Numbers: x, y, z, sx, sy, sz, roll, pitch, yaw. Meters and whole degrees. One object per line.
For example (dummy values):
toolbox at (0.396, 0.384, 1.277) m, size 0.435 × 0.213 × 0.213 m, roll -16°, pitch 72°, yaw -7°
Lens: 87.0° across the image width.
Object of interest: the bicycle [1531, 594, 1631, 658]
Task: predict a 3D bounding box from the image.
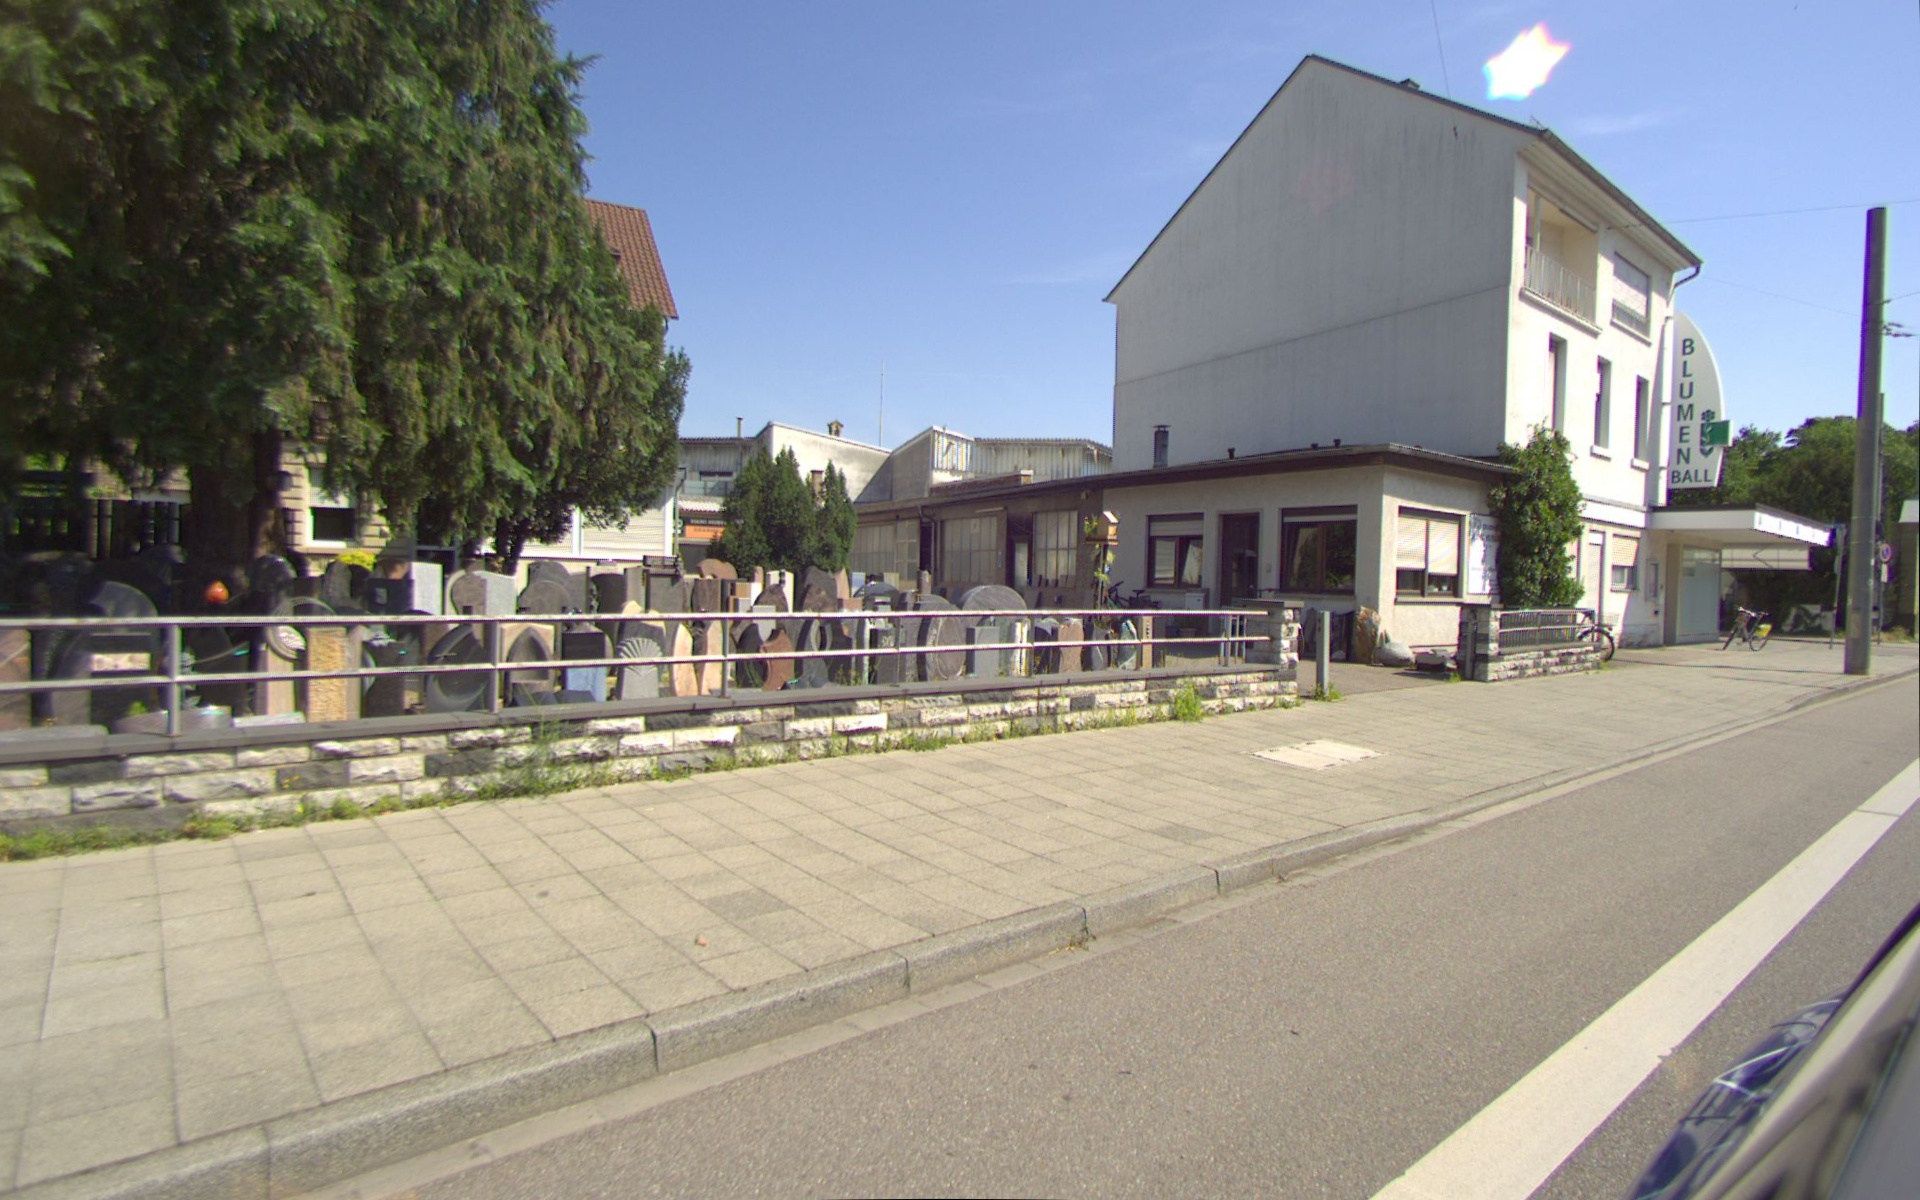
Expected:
bicycle at (11.937, 0.479, 19.504) m, size 0.390 × 1.069 × 1.531 m, roll 1°, pitch 4°, yaw -39°

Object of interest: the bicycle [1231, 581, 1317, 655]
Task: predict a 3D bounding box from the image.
bicycle at (5.249, 0.275, 17.024) m, size 0.503 × 1.124 × 1.695 m, roll 2°, pitch 2°, yaw -16°

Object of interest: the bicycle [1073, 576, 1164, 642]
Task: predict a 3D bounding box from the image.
bicycle at (2.937, 0.147, 18.912) m, size 0.502 × 1.124 × 1.798 m, roll 1°, pitch 2°, yaw -36°

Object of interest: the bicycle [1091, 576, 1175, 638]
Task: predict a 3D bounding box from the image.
bicycle at (3.401, 0.124, 19.973) m, size 0.503 × 1.124 × 1.690 m, roll 1°, pitch 2°, yaw -38°

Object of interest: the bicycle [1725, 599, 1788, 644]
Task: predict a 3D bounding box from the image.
bicycle at (20.653, 0.556, 26.234) m, size 1.655 × 1.148 × 0.513 m, roll 1°, pitch 1°, yaw -24°
